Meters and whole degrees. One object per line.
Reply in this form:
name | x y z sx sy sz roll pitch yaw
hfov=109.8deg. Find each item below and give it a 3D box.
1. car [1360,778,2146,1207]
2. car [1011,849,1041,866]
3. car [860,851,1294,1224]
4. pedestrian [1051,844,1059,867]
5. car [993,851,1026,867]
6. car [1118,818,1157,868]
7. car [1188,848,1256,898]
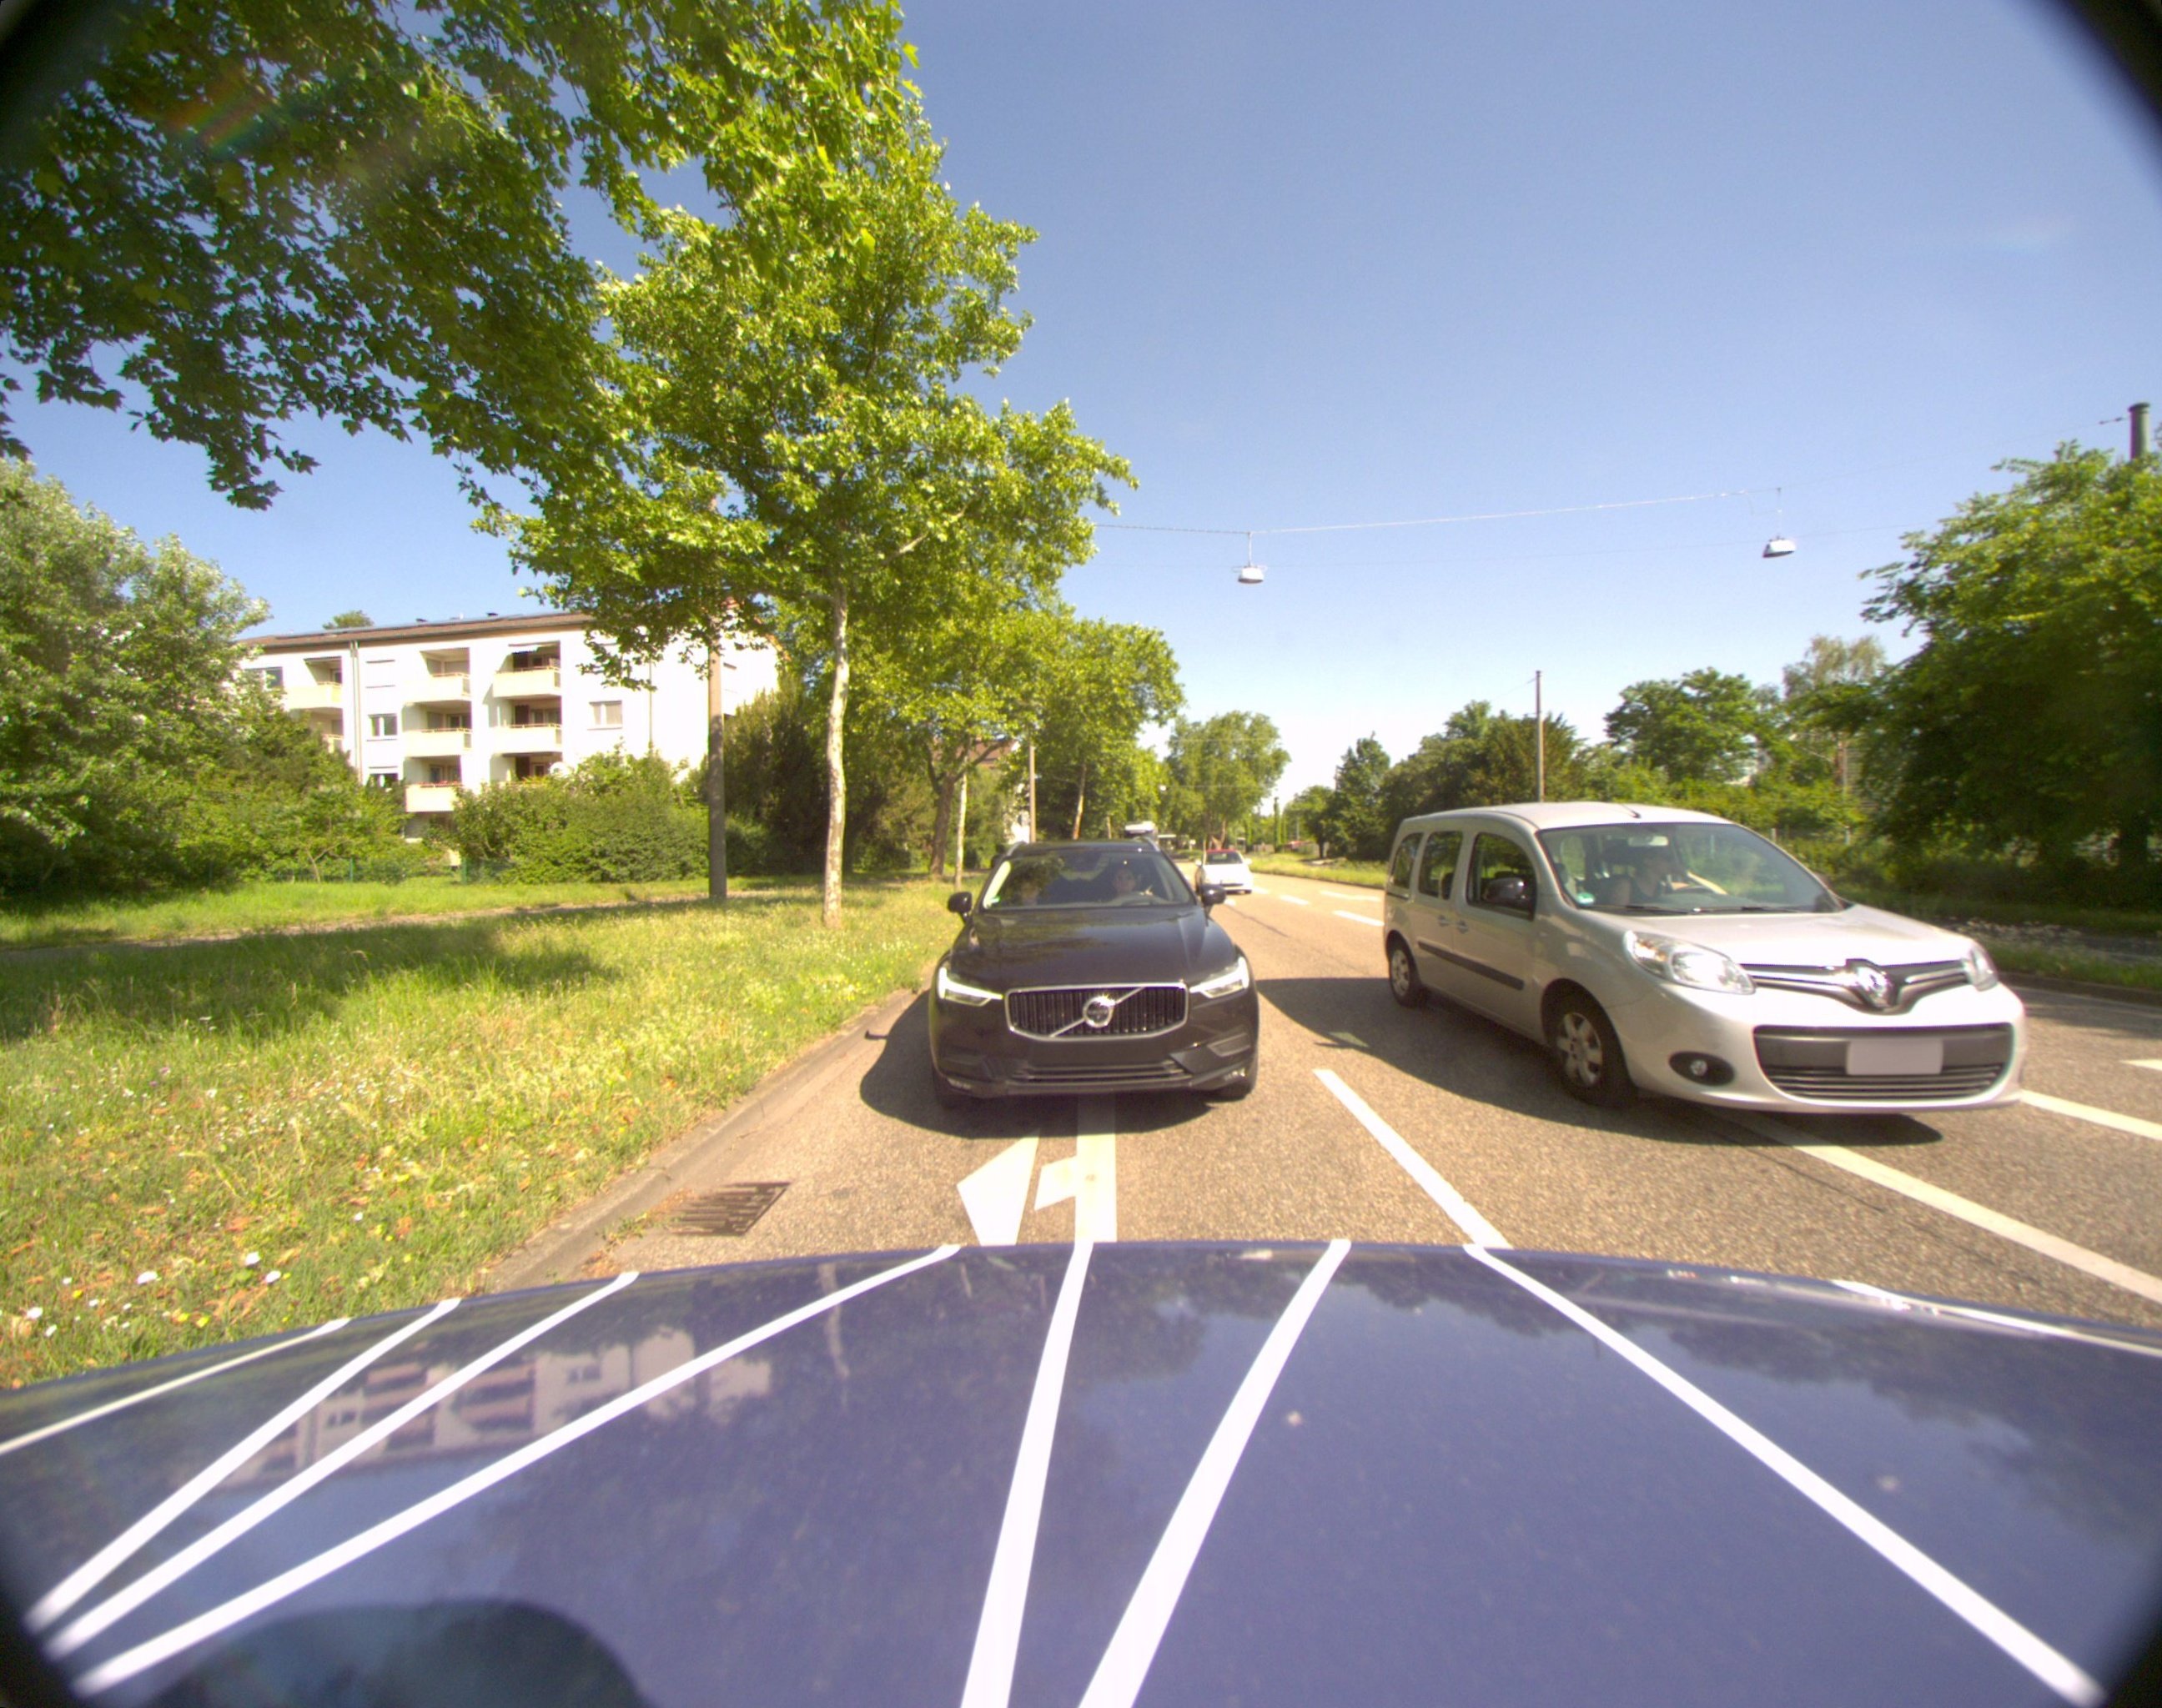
car | 3.674 0.586 5.450 1.876 1.829 4.375 -1 1 2
car | -5.284 0.322 73.816 1.504 1.633 4.094 0 1 17
car | 0.015 0.820 5.851 1.904 1.606 4.872 -2 1 1
pedestrian | -2.323 0.140 68.533 0.639 2.002 0.480 0 1 10
car | -6.431 0.417 68.525 1.504 1.364 4.094 0 1 17
car | 4.573 -0.870 62.902 2.902 3.898 7.141 0 1 2
car | 4.796 0.587 26.335 1.689 1.482 4.376 -3 1 3
